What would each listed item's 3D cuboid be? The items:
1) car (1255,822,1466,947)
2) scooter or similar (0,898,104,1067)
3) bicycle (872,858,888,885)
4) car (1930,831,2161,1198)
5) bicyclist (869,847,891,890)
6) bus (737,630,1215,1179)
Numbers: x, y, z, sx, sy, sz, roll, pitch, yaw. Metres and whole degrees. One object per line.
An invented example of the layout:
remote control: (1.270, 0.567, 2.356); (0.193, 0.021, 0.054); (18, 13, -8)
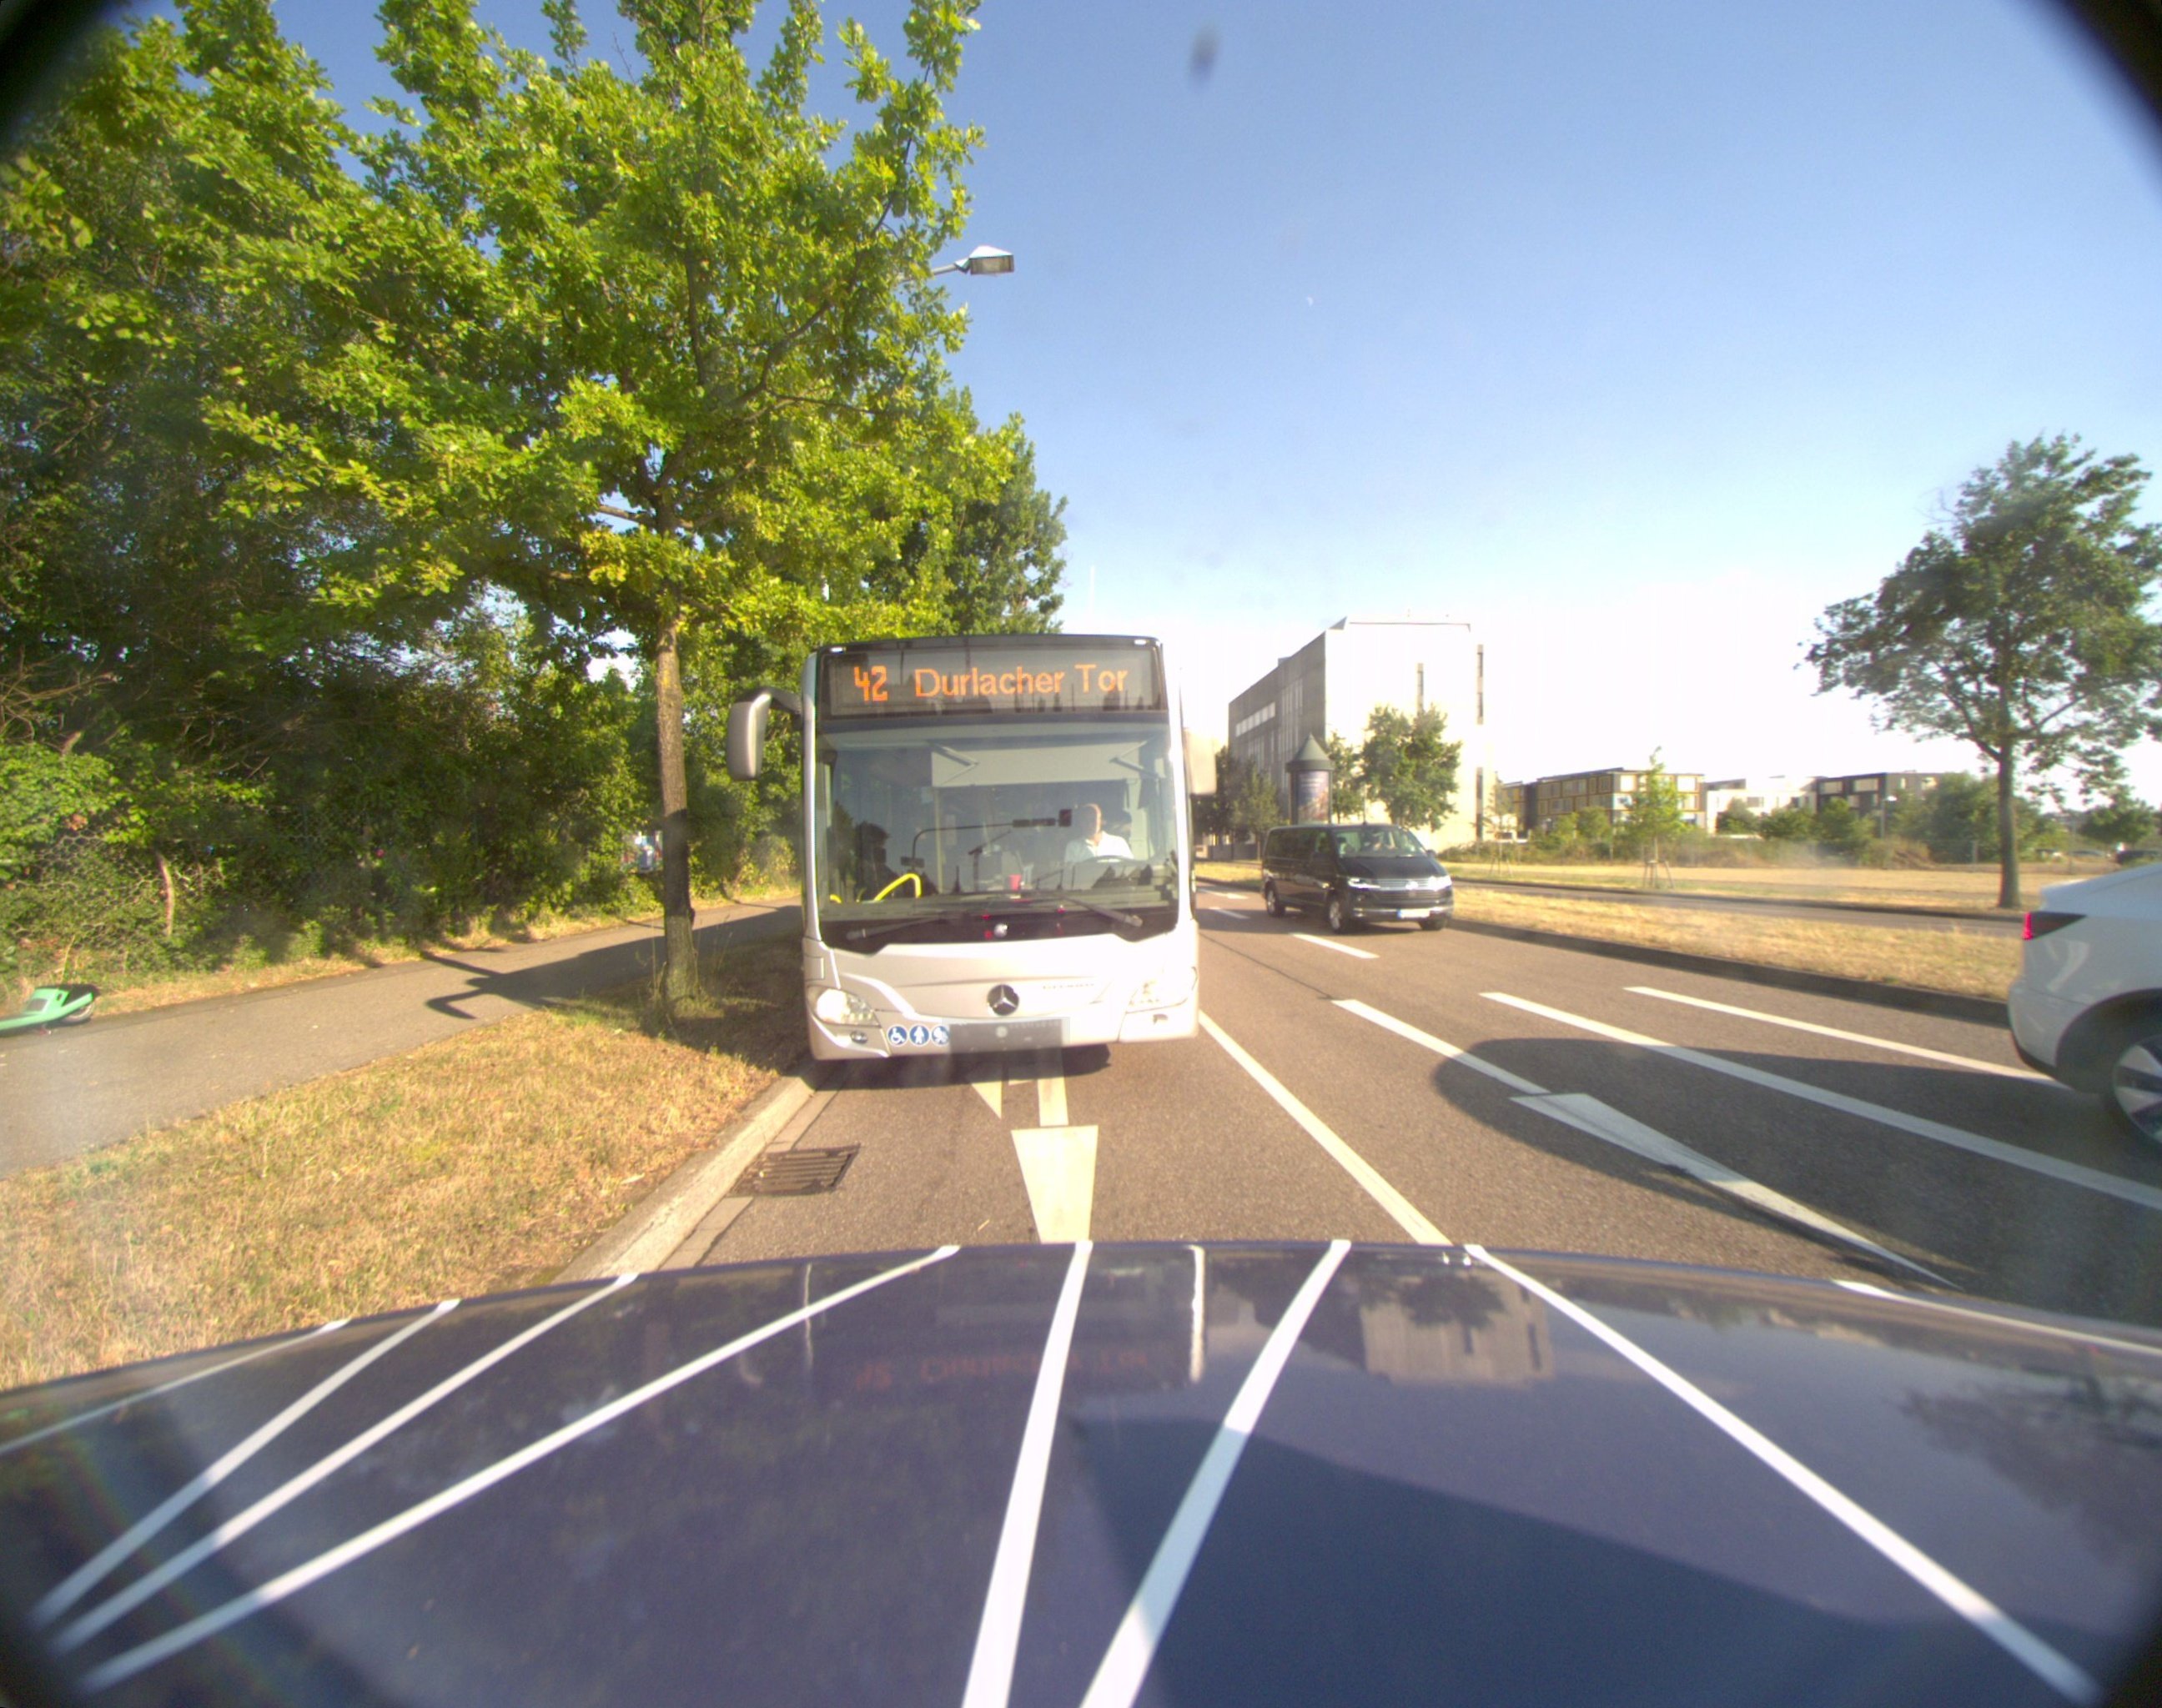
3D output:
car: (5.039, 0.457, 14.606); (1.861, 1.921, 5.010); (-2, 1, -4)
scooter or similar: (-7.552, 0.903, 5.211); (0.249, 1.120, 1.095); (2, 1, 1)
bicycle: (-8.740, 0.738, 33.080); (0.416, 1.151, 1.890); (2, 0, -8)
car: (5.673, 0.690, 1.884); (1.740, 1.590, 4.675); (-2, 0, -4)
bicyclist: (-8.749, 0.623, 33.131); (0.621, 1.819, 0.829); (7, 0, -6)
bus: (-0.775, 0.246, 10.127); (2.595, 3.025, 11.716); (-1, 0, -2)
